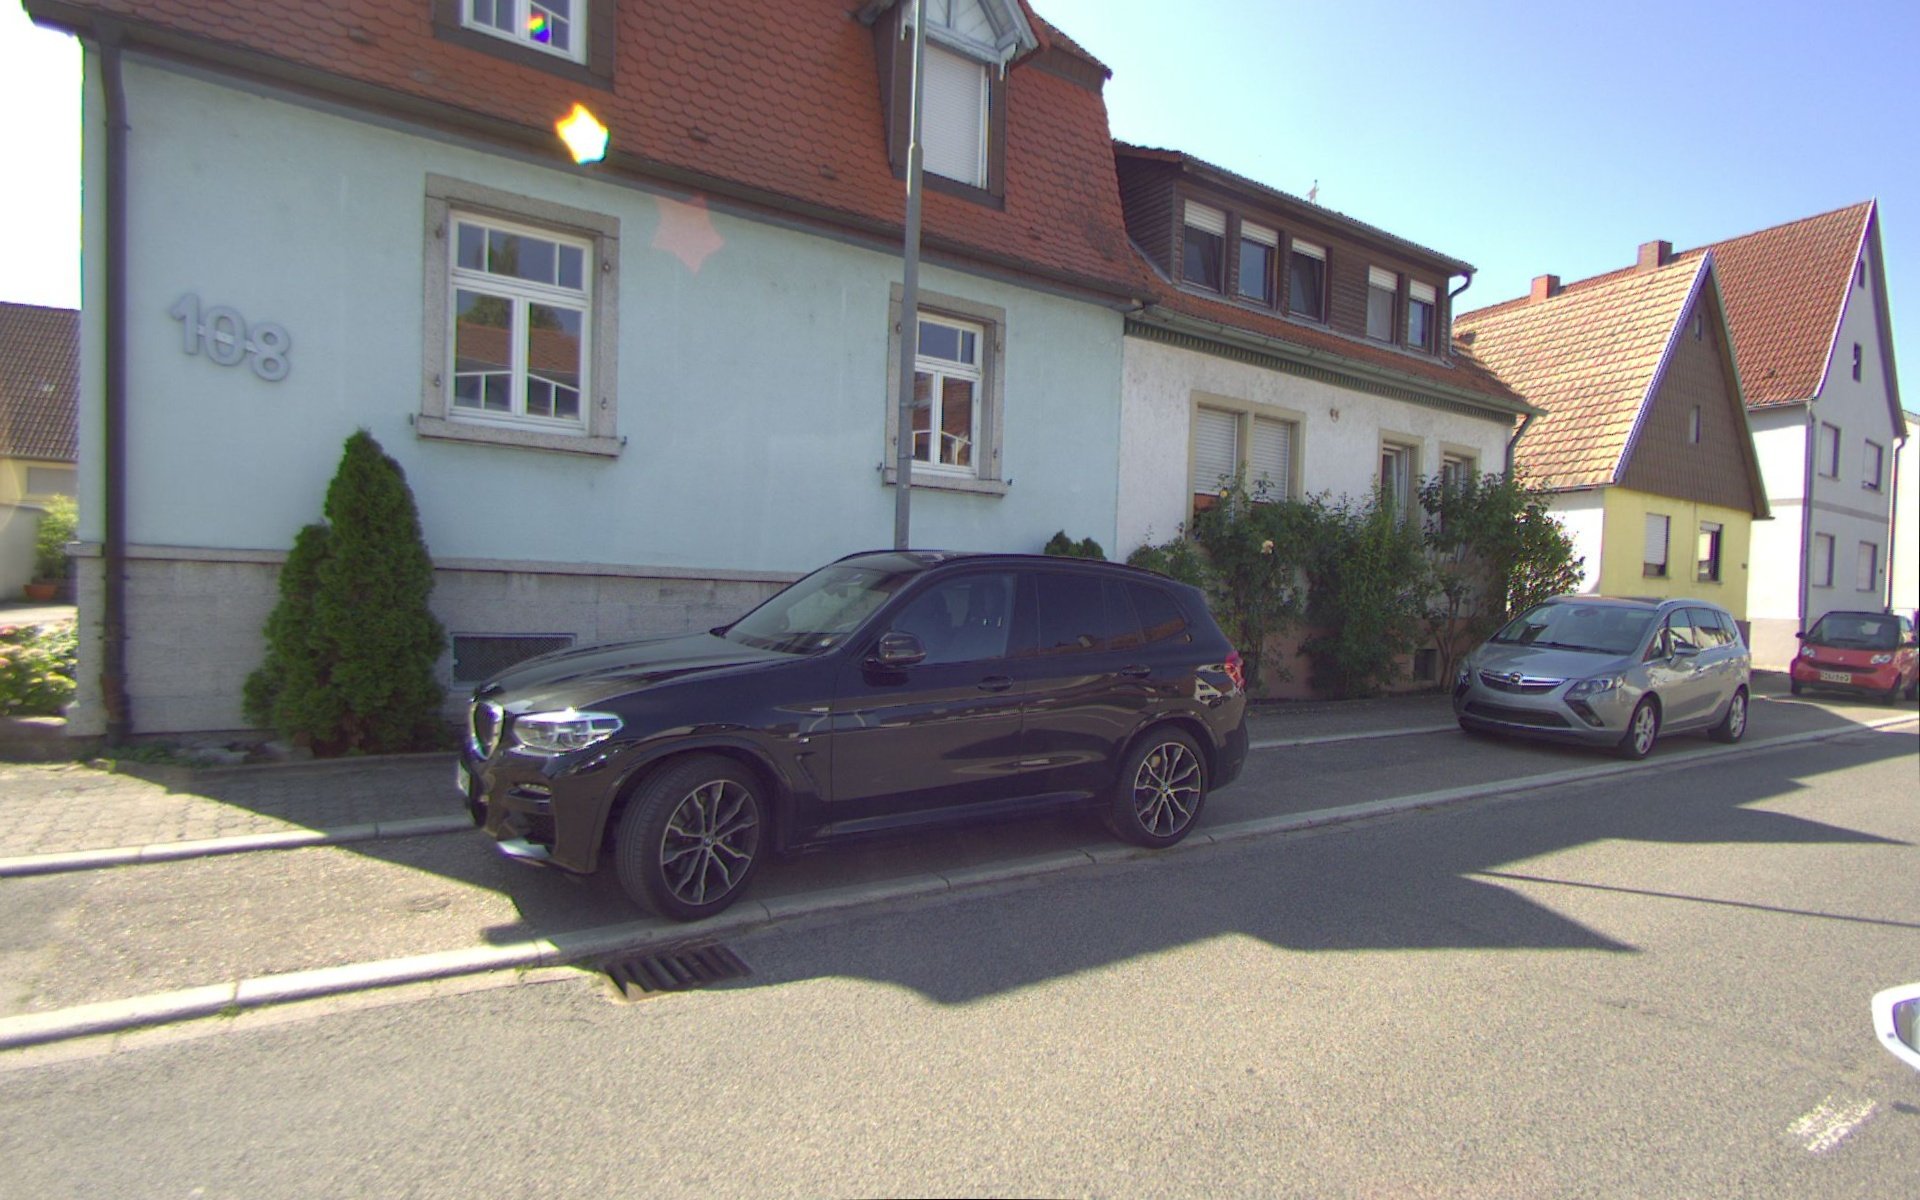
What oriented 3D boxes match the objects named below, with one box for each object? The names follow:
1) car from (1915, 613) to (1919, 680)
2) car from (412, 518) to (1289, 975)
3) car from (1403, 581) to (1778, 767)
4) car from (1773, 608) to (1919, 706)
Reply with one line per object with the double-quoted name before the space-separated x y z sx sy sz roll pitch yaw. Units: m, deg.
"car" 24.696 1.174 24.020 4.359 1.568 1.794 2 2 -35
"car" -0.424 0.548 5.782 4.617 1.690 1.908 2 3 -34
"car" 7.199 0.722 11.307 4.617 1.658 1.860 2 2 -35
"car" 16.344 0.994 18.320 2.957 1.565 1.542 2 2 -35
